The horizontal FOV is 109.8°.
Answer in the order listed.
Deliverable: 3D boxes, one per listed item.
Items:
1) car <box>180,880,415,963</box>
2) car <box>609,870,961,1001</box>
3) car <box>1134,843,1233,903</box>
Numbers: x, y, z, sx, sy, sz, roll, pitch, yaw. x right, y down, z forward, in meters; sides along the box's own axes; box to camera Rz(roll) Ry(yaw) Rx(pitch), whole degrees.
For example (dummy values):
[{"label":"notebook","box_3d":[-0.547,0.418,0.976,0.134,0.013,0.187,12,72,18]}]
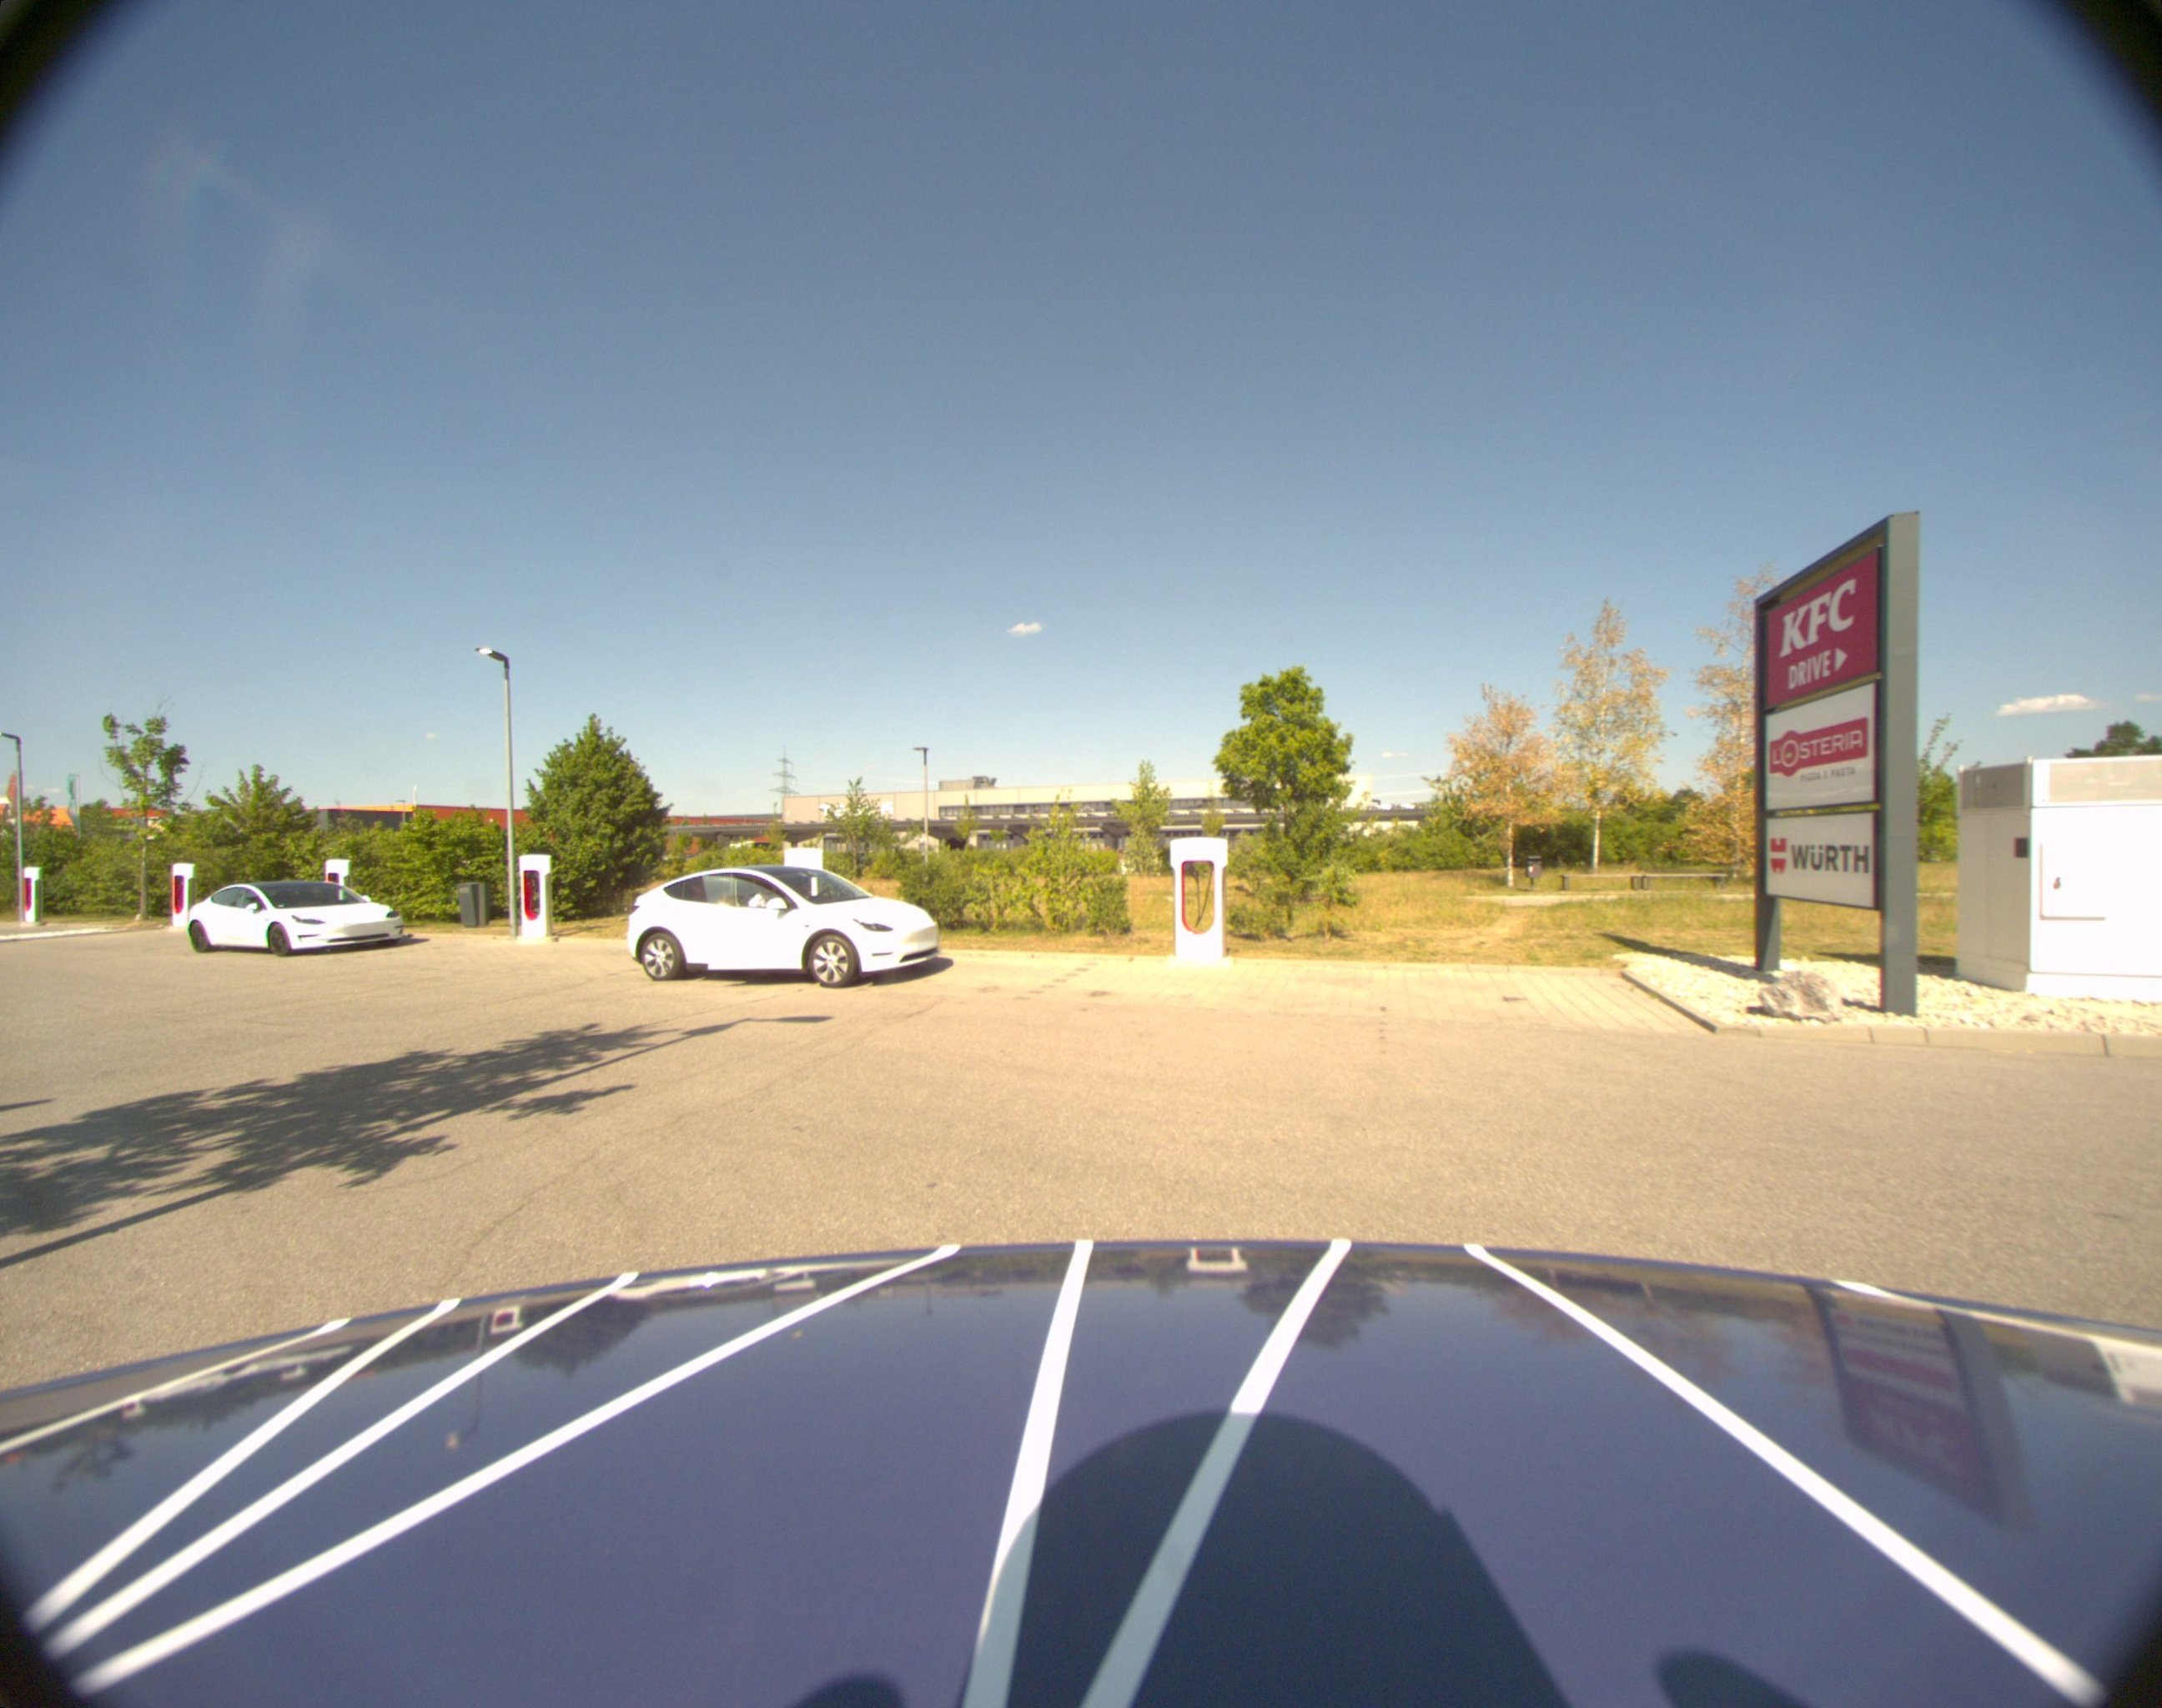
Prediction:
[{"label":"car","box_3d":[-16.349,1.328,15.859,4.323,1.470,1.845,-1,1,21]},{"label":"car","box_3d":[-4.256,1.080,11.070,4.567,1.584,1.844,-1,1,17]},{"label":"car","box_3d":[3.427,0.546,24.660,1.914,1.740,4.264,-1,0,26]}]
